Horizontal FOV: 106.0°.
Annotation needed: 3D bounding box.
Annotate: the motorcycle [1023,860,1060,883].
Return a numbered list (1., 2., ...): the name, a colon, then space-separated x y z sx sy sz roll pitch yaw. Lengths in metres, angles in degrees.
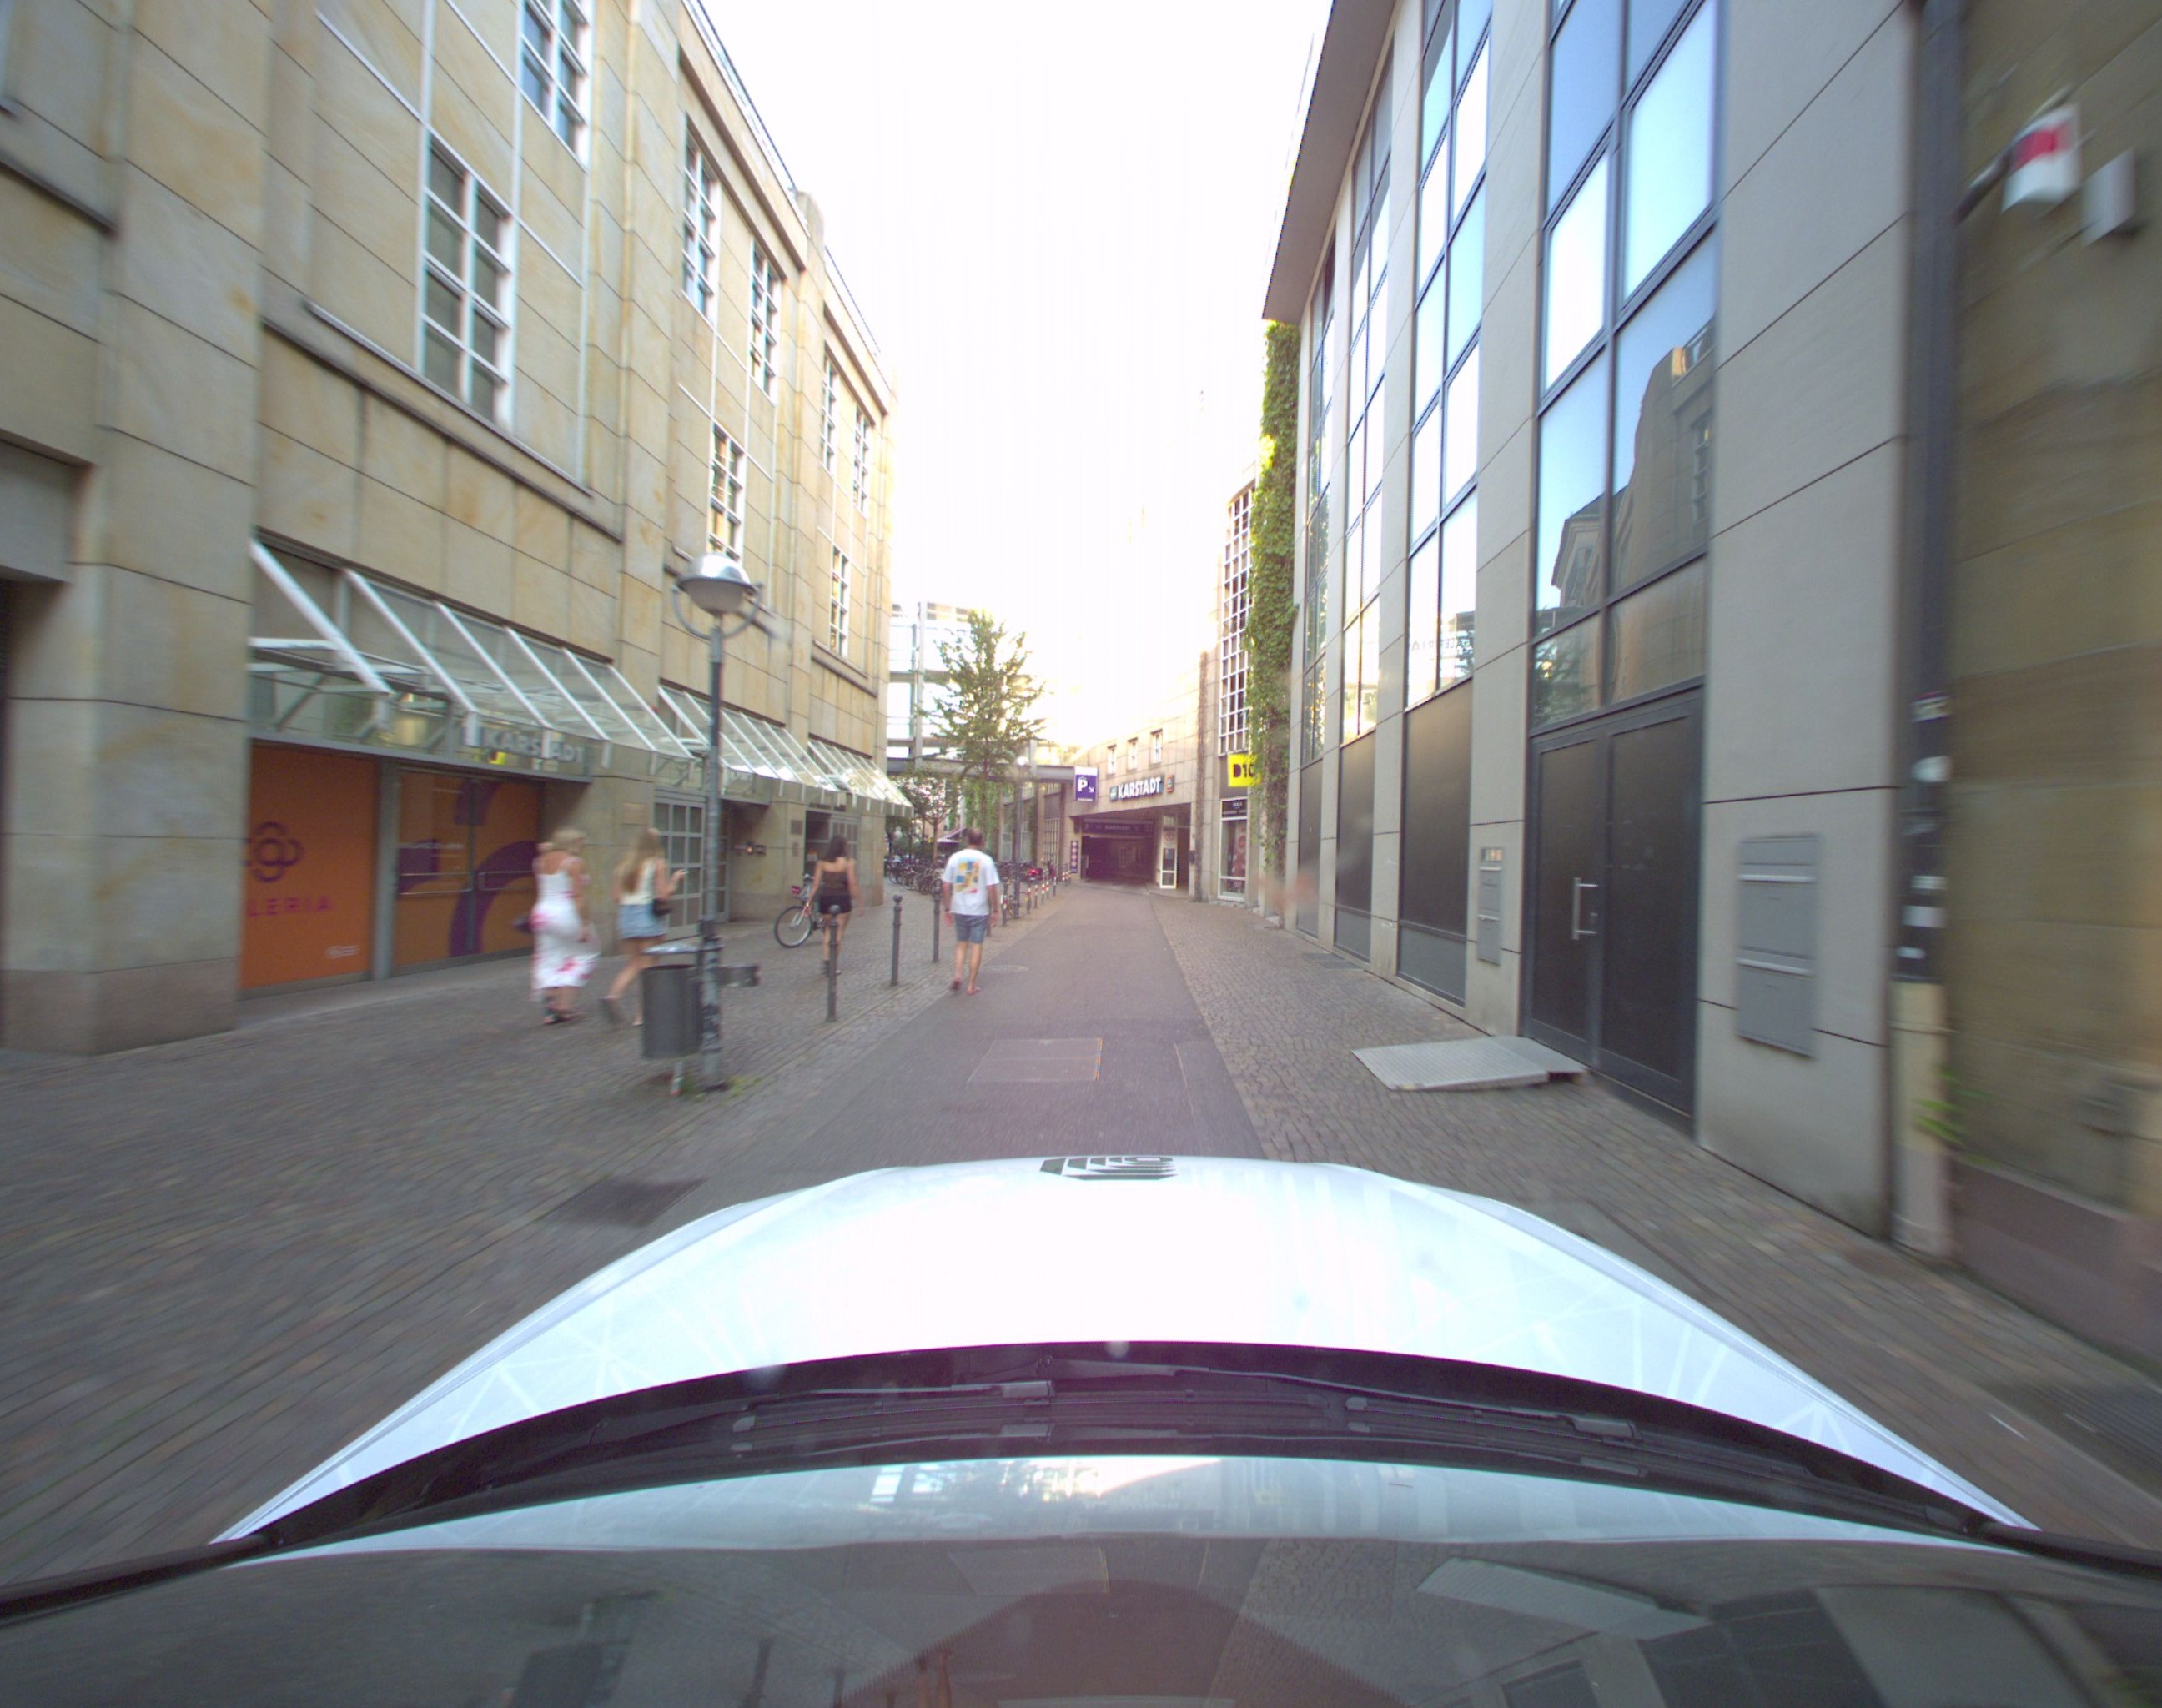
1. motorcycle: -1.875 0.828 38.446 1.667 1.050 0.461 1 0 -18

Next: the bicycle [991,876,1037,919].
1. bicycle: -1.613 1.035 19.874 0.489 0.939 1.667 2 0 18

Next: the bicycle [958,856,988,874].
1. bicycle: -6.805 0.713 51.179 1.778 1.114 0.539 1 0 -18

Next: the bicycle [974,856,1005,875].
1. bicycle: -5.470 0.663 48.873 1.778 1.114 0.539 1 0 -18

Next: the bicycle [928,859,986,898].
1. bicycle: -4.017 0.797 26.354 1.772 1.230 0.530 0 0 -20

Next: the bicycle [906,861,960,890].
1. bicycle: -5.449 0.790 30.062 1.900 1.052 0.530 0 0 -20

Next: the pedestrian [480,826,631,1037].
1. pedestrian: -4.426 0.615 6.922 0.672 1.664 0.861 1 0 1

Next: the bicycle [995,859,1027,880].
1. bicycle: -3.593 0.801 41.945 1.543 1.049 0.572 1 0 -18

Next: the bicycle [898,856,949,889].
1. bicycle: -5.933 0.697 30.754 1.839 1.225 0.530 0 0 -20

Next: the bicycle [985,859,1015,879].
1. bicycle: -4.417 0.832 44.350 1.543 1.049 0.572 1 0 -18

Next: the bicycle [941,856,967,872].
1. bicycle: -8.892 0.717 57.034 1.776 1.114 0.540 1 0 -15

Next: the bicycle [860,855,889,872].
1. bicycle: -14.344 0.667 56.490 1.910 1.112 0.478 0 0 -20

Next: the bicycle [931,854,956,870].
1. bicycle: -10.525 0.642 62.290 1.778 1.190 0.583 1 0 -18

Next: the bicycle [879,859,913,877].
1. bicycle: -10.238 0.772 45.017 1.785 1.019 0.478 0 0 -20

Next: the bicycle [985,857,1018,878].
1. bicycle: -4.460 0.760 45.527 1.778 1.114 0.539 1 0 -18

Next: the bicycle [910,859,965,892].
1. bicycle: -5.195 0.762 29.523 1.878 1.177 0.530 0 0 -20

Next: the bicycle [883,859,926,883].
1. bicycle: -7.865 0.772 36.371 1.831 1.043 0.530 0 0 -20

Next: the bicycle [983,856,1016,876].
1. bicycle: -4.672 0.661 46.610 1.778 1.114 0.539 1 0 -18

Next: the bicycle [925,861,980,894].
1. bicycle: -4.514 0.830 28.544 1.842 1.122 0.530 0 0 -20

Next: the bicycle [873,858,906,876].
1. bicycle: -10.771 0.733 45.874 1.785 1.019 0.478 0 0 -20

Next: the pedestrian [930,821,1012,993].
1. pedestrian: -1.218 0.562 9.145 0.739 1.822 0.879 1 0 2

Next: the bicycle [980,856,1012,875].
1. bicycle: -4.976 0.687 47.824 1.778 1.114 0.539 1 0 -18

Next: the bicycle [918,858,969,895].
1. bicycle: -4.670 0.746 27.657 1.659 1.230 0.530 0 0 -20

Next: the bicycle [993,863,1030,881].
1. bicycle: -3.493 0.902 40.989 1.778 0.904 0.461 1 0 -18

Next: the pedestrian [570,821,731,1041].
1. pedestrian: -3.625 0.608 6.946 0.803 1.729 0.949 1 0 1

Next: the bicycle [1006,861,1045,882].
1. bicycle: -2.738 0.855 40.111 1.853 0.982 0.461 1 0 -18

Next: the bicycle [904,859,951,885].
1. bicycle: -6.509 0.761 34.563 1.883 1.043 0.530 0 0 -20

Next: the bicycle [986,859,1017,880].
1. bicycle: -4.176 0.814 42.943 1.543 1.049 0.572 1 0 -18

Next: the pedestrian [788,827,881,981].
1. pedestrian: -3.020 0.584 10.079 0.782 1.795 0.973 1 0 3

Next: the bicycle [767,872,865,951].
1. bicycle: -4.217 0.885 13.085 0.517 1.138 1.773 1 0 19
